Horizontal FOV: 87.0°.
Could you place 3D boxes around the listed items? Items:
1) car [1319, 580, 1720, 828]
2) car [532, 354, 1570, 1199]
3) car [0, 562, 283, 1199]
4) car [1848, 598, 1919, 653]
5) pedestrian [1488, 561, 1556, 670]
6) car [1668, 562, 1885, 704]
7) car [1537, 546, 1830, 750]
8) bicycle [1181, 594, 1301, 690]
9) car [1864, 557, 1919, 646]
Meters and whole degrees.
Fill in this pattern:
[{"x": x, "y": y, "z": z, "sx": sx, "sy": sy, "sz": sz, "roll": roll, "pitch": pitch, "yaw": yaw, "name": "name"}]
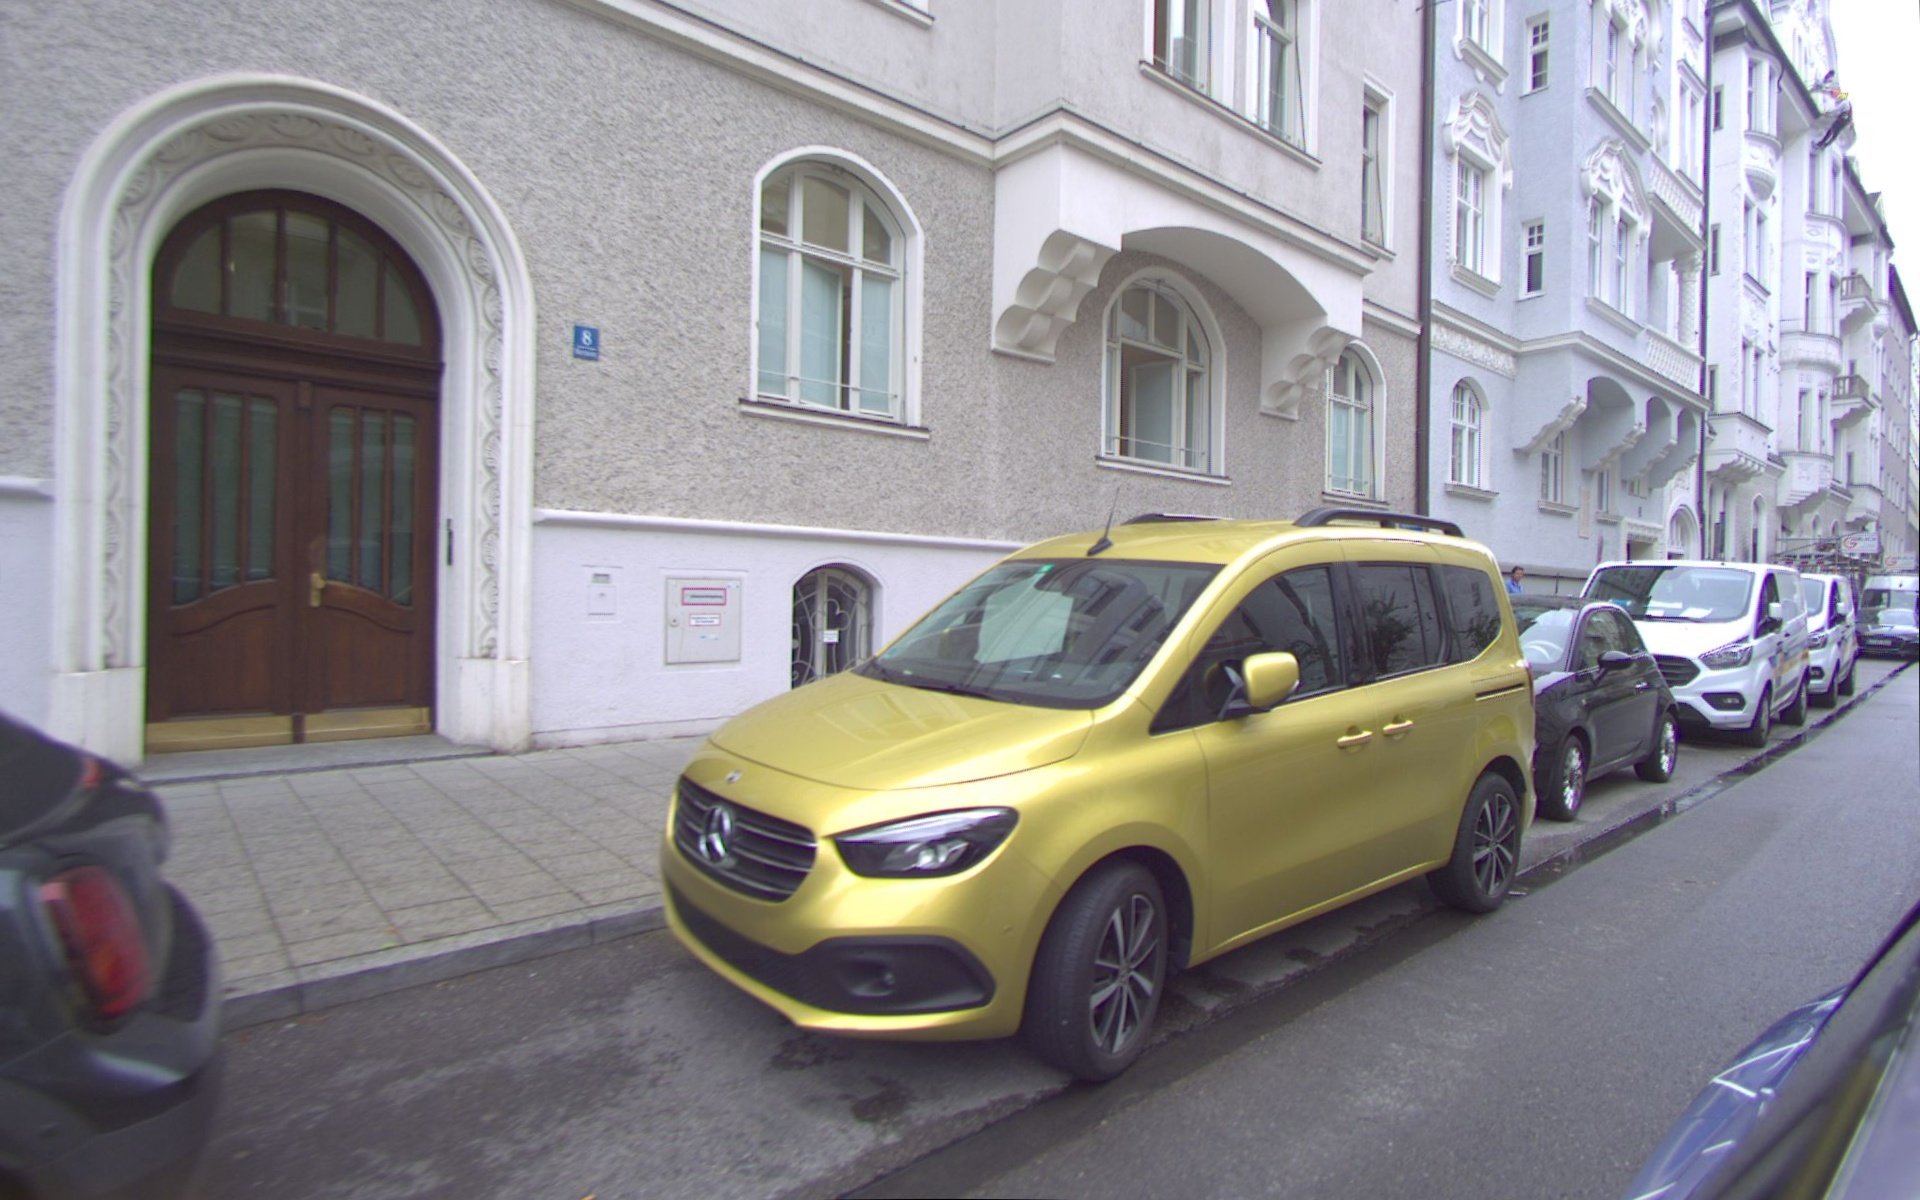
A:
[{"x": 4.629, "y": 0.638, "z": 8.148, "sx": 3.817, "sy": 1.533, "sz": 1.636, "roll": 0, "pitch": 0, "yaw": -41, "name": "car"}, {"x": 0.746, "y": 0.401, "z": 4.486, "sx": 4.490, "sy": 1.942, "sz": 1.998, "roll": 0, "pitch": 1, "yaw": -40, "name": "car"}, {"x": -3.183, "y": 0.654, "z": 1.209, "sx": 3.761, "sy": 1.463, "sz": 1.715, "roll": 0, "pitch": 1, "yaw": -42, "name": "car"}, {"x": 26.706, "y": 0.680, "z": 28.751, "sx": 4.172, "sy": 1.425, "sz": 1.790, "roll": 0, "pitch": 1, "yaw": -42, "name": "car"}, {"x": 10.314, "y": 0.265, "z": 18.588, "sx": 0.732, "sy": 1.927, "sz": 0.854, "roll": 0, "pitch": 1, "yaw": -39, "name": "pedestrian"}, {"x": 13.187, "y": 0.431, "z": 16.231, "sx": 4.795, "sy": 1.942, "sz": 1.996, "roll": 0, "pitch": 1, "yaw": -42, "name": "car"}, {"x": 8.738, "y": 0.429, "z": 12.031, "sx": 4.805, "sy": 1.942, "sz": 1.995, "roll": 0, "pitch": 1, "yaw": -44, "name": "car"}, {"x": 3.614, "y": 0.503, "z": 12.957, "sx": 1.692, "sy": 1.147, "sz": 0.667, "roll": 0, "pitch": 1, "yaw": -41, "name": "bicycle"}, {"x": 31.600, "y": 0.045, "z": 33.368, "sx": 5.352, "sy": 2.721, "sz": 2.080, "roll": 0, "pitch": 2, "yaw": -43, "name": "car"}]
